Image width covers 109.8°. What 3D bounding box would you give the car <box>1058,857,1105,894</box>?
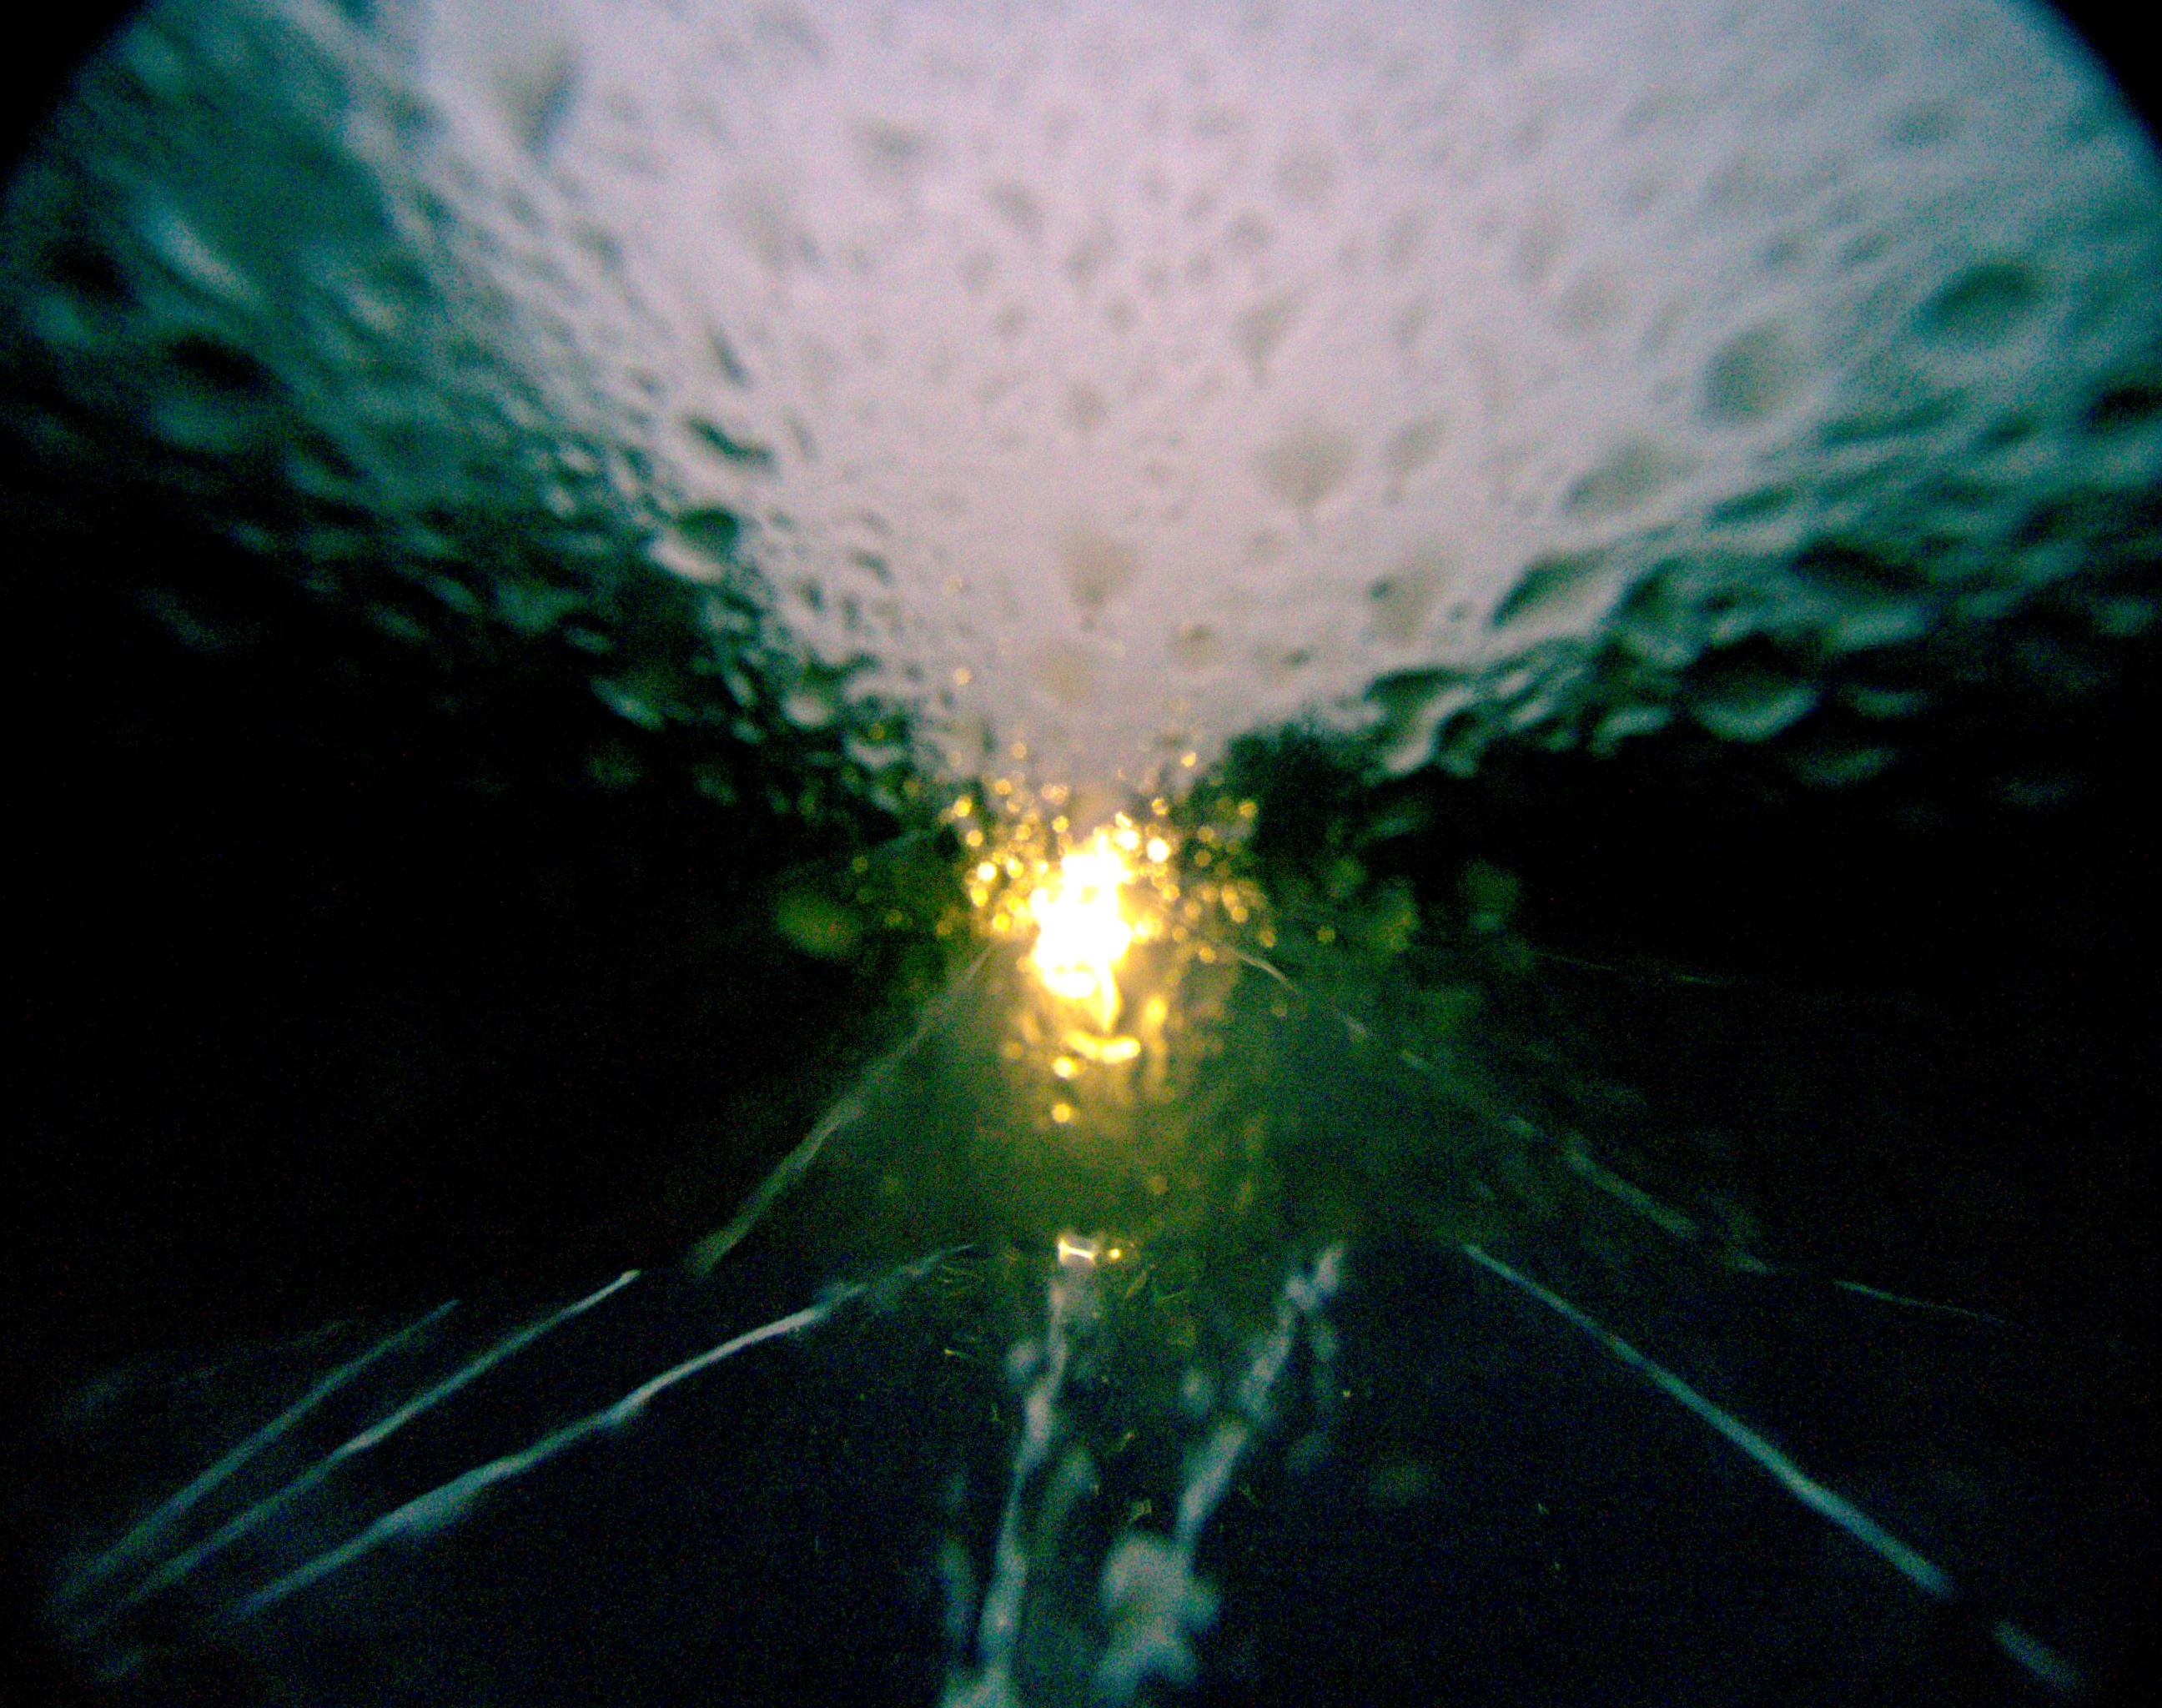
[{"bbox_3d":[-0.001,0.860,32.473,1.850,1.429,4.244,-1,0,0],"label":"car"}]

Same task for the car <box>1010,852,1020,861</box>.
[{"bbox_3d":[-13.734,0.506,157.588,1.702,1.721,3.996,-2,2,-8],"label":"car"}]
